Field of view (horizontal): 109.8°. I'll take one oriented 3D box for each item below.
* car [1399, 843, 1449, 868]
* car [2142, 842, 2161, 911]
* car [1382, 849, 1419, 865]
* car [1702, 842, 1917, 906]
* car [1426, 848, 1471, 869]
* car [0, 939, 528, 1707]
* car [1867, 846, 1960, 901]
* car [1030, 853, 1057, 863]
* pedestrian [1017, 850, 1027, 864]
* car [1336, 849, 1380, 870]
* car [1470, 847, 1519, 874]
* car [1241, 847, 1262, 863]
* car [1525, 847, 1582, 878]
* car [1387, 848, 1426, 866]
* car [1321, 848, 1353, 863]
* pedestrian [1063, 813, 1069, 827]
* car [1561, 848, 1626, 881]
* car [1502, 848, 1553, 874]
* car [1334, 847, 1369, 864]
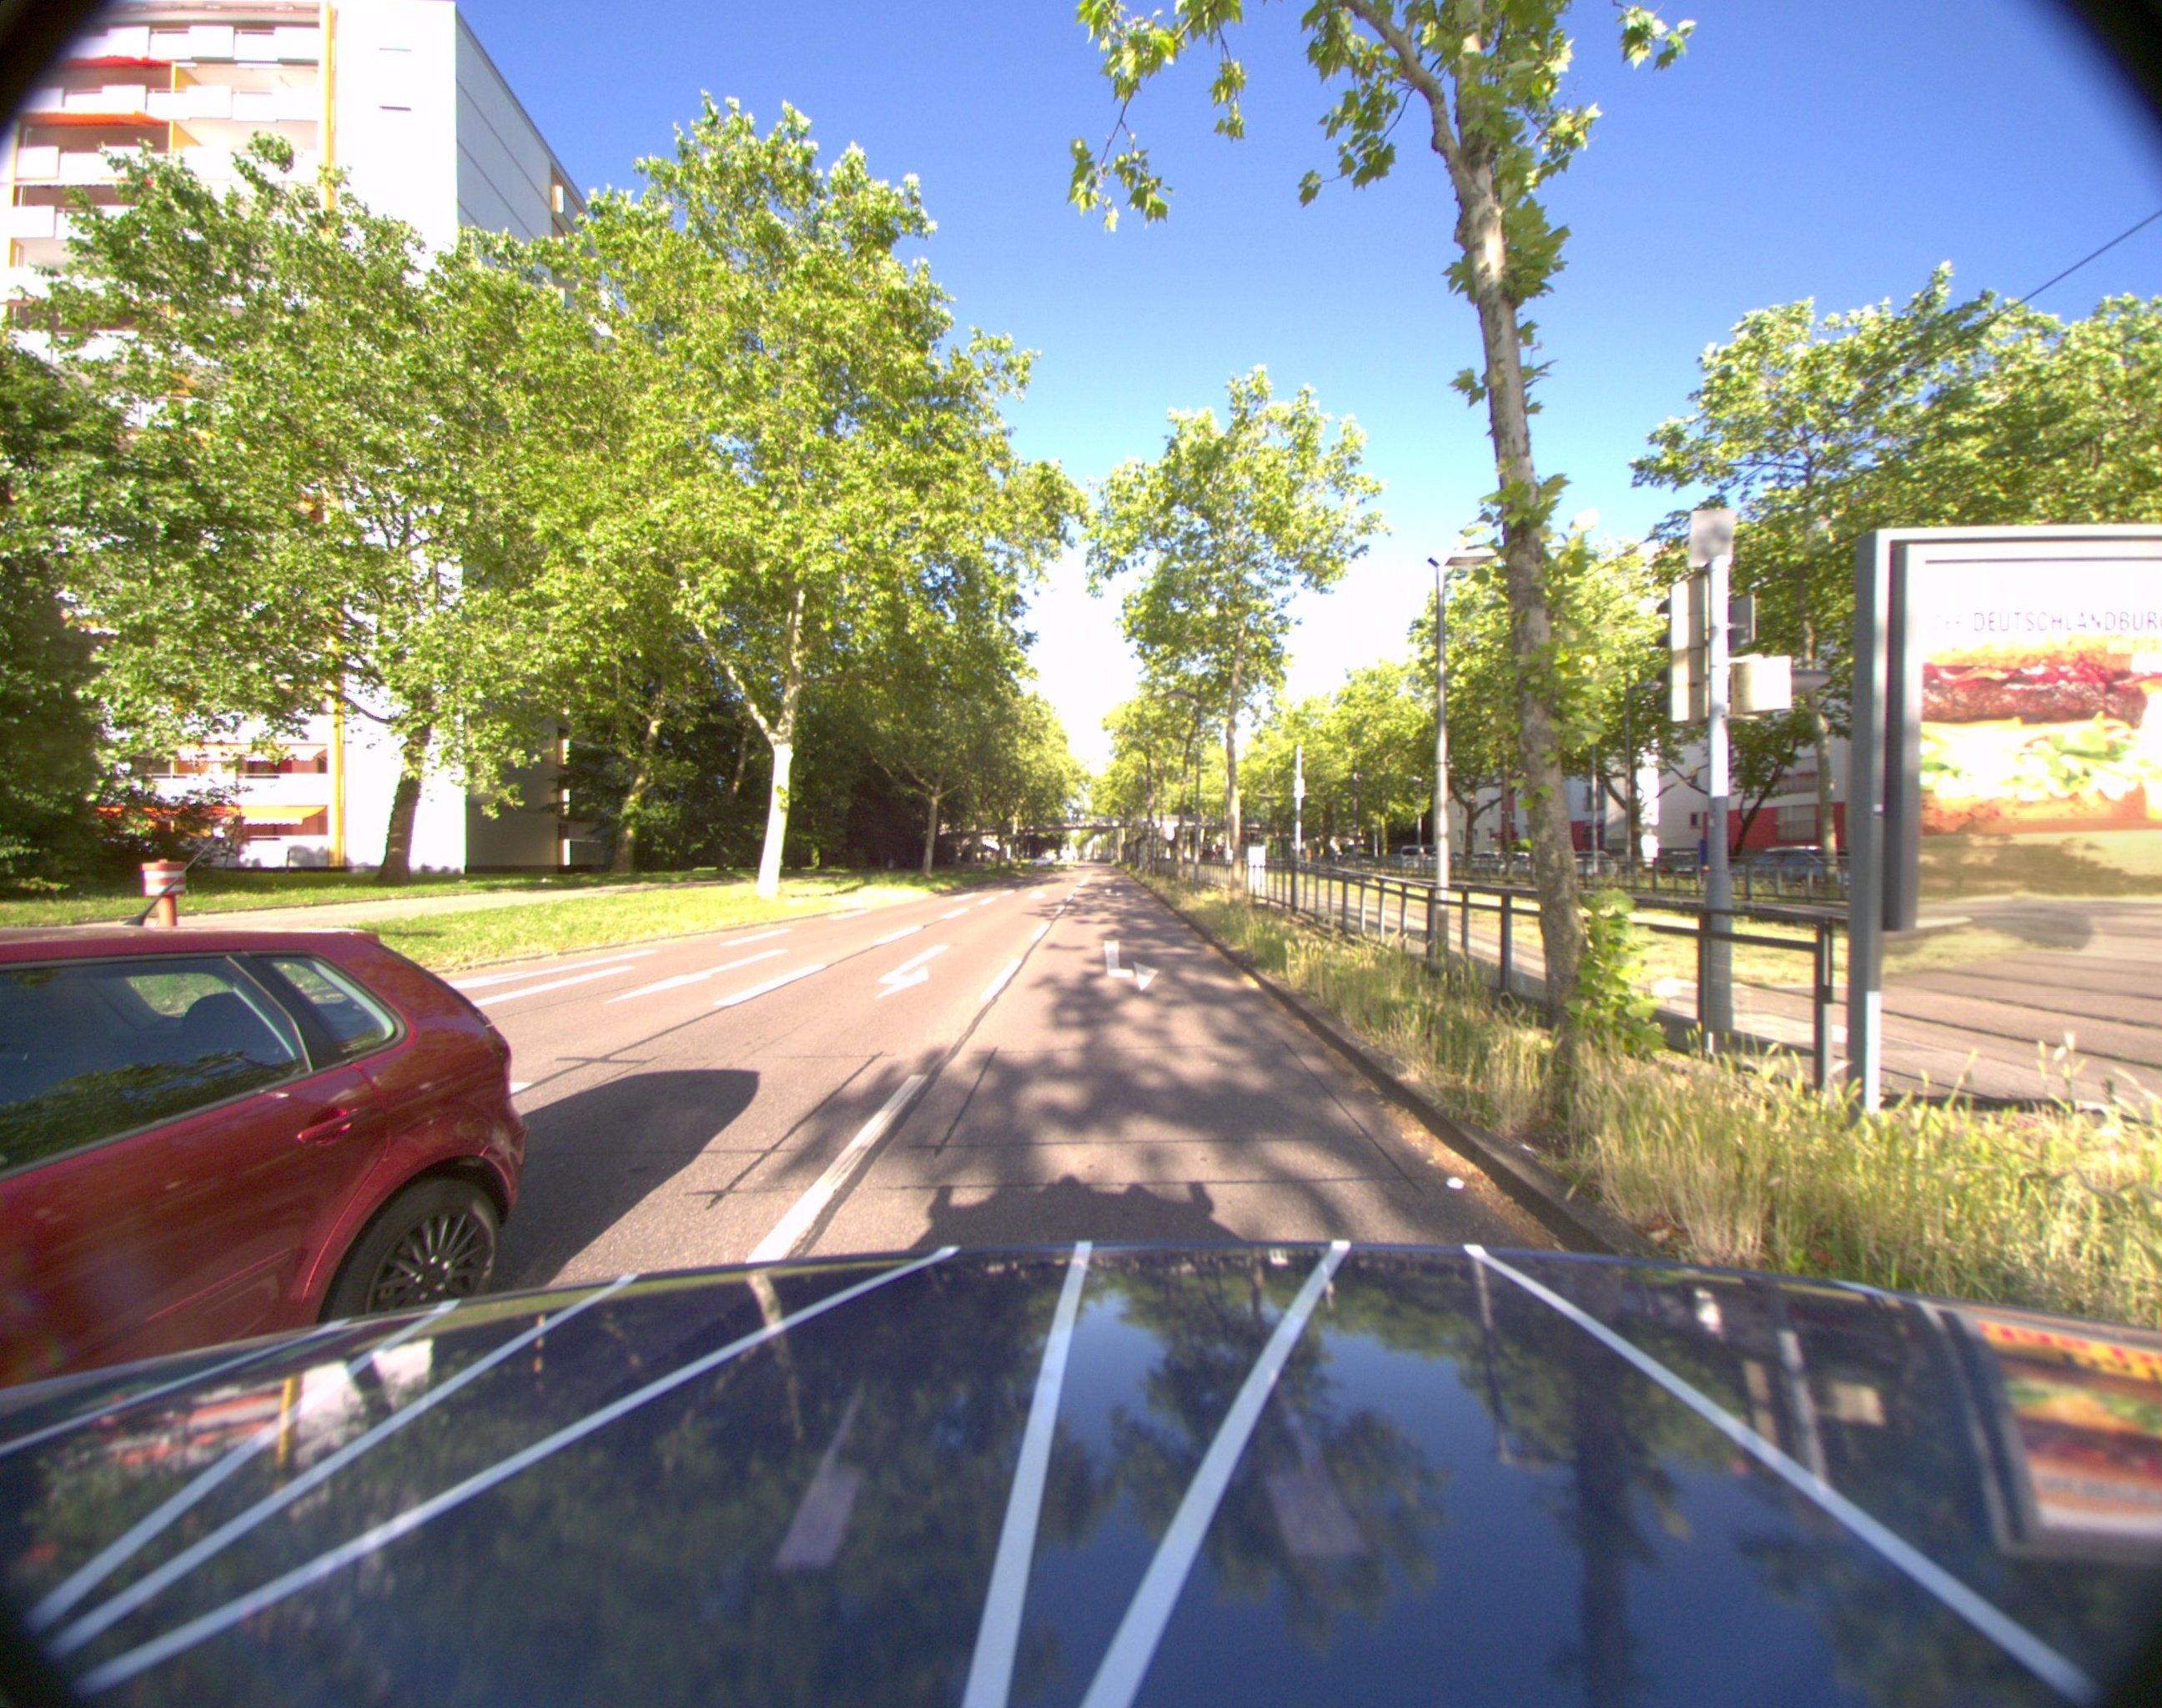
[{"bbox_3d":[25.700,0.082,56.878,4.056,1.802,1.864,-1,1,-40],"label":"car"},{"bbox_3d":[24.625,0.529,16.248,4.007,1.479,1.689,-3,1,-44],"label":"car"},{"bbox_3d":[26.971,0.268,64.038,3.494,1.293,1.476,-1,1,-41],"label":"car"},{"bbox_3d":[19.441,0.472,20.609,1.810,1.514,4.331,-1,0,3],"label":"car"},{"bbox_3d":[26.117,0.305,53.904,3.494,1.395,1.623,-1,1,-41],"label":"car"},{"bbox_3d":[-2.930,1.069,0.901,1.646,1.430,3.761,-2,1,2],"label":"car"},{"bbox_3d":[25.234,0.541,22.992,3.770,1.420,1.555,-3,1,-37],"label":"car"},{"bbox_3d":[-6.101,0.595,122.140,4.002,1.465,1.796,-3,1,-16],"label":"car"},{"bbox_3d":[-8.408,0.442,107.652,0.964,2.002,0.917,-3,1,-41],"label":"pedestrian"},{"bbox_3d":[20.511,0.393,56.415,1.769,1.503,4.102,-1,0,1],"label":"car"},{"bbox_3d":[25.811,0.390,47.426,3.493,1.417,1.558,-3,-1,-42],"label":"car"},{"bbox_3d":[21.581,0.133,96.160,1.795,1.980,4.653,-1,0,3],"label":"car"},{"bbox_3d":[25.784,0.455,41.428,3.402,1.499,1.461,-3,1,-37],"label":"car"},{"bbox_3d":[25.872,0.261,60.348,3.494,1.336,1.476,-1,1,-41],"label":"car"},{"bbox_3d":[26.783,0.121,79.516,3.742,1.517,1.597,-1,1,-43],"label":"car"},{"bbox_3d":[-2.030,-4.570,102.442,0.738,1.873,0.511,-3,1,0],"label":"pedestrian"},{"bbox_3d":[25.514,0.518,37.759,3.890,1.406,1.486,-3,1,-37],"label":"car"},{"bbox_3d":[26.217,0.406,44.597,3.493,1.321,1.476,-3,0,-41],"label":"car"},{"bbox_3d":[26.154,0.139,73.375,3.835,1.561,1.597,-1,1,-43],"label":"car"}]
